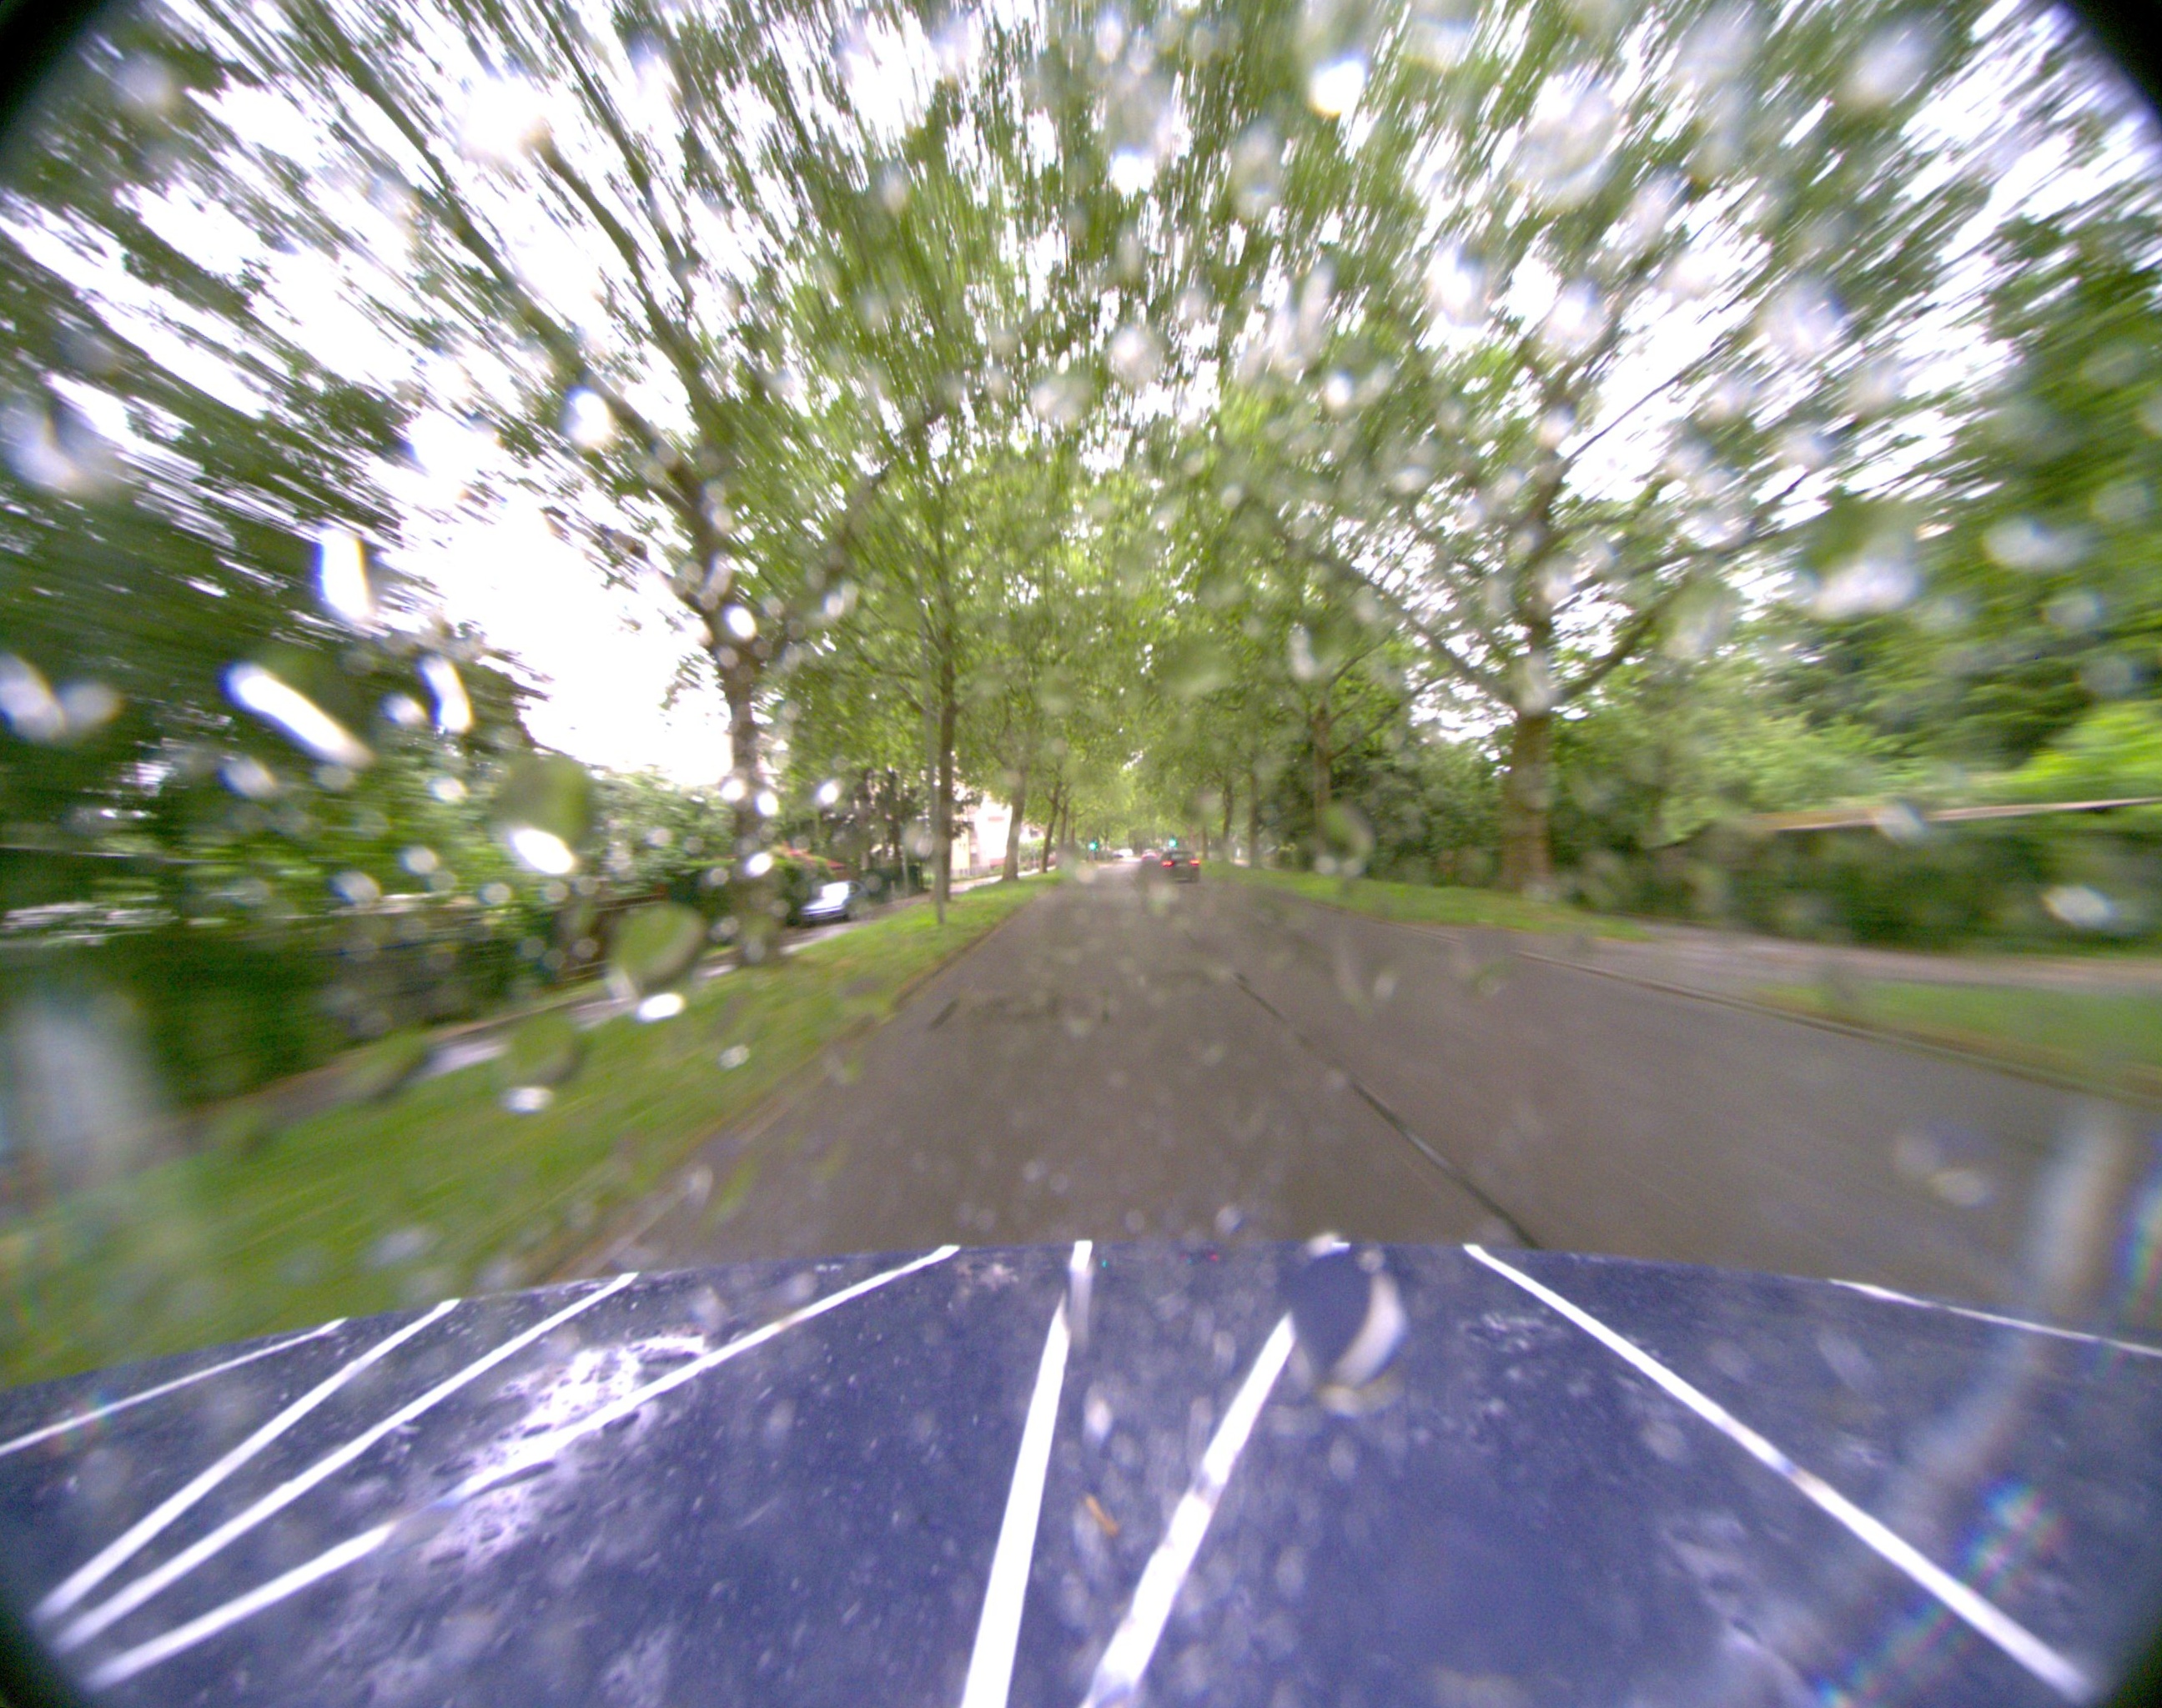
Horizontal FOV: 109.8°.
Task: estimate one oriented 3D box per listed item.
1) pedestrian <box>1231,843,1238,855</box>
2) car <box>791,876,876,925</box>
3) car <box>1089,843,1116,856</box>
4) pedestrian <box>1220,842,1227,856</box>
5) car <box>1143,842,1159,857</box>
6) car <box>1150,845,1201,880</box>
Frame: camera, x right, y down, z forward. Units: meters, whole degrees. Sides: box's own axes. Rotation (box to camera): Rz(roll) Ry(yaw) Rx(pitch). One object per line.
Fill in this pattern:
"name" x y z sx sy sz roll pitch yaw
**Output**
"pedestrian" 15.916 -0.528 78.833 0.517 1.254 0.849 -3 1 5
"car" -9.136 1.683 28.367 1.800 1.318 3.999 -7 1 -1
"car" 3.453 -0.762 123.485 4.261 1.846 1.892 -3 1 2
"pedestrian" 14.783 -0.514 78.903 0.599 1.445 0.857 -3 1 5
"car" 8.536 -0.565 92.300 1.812 1.718 4.456 -3 1 6
"car" 4.396 0.362 35.930 1.850 1.493 3.999 -3 1 0
